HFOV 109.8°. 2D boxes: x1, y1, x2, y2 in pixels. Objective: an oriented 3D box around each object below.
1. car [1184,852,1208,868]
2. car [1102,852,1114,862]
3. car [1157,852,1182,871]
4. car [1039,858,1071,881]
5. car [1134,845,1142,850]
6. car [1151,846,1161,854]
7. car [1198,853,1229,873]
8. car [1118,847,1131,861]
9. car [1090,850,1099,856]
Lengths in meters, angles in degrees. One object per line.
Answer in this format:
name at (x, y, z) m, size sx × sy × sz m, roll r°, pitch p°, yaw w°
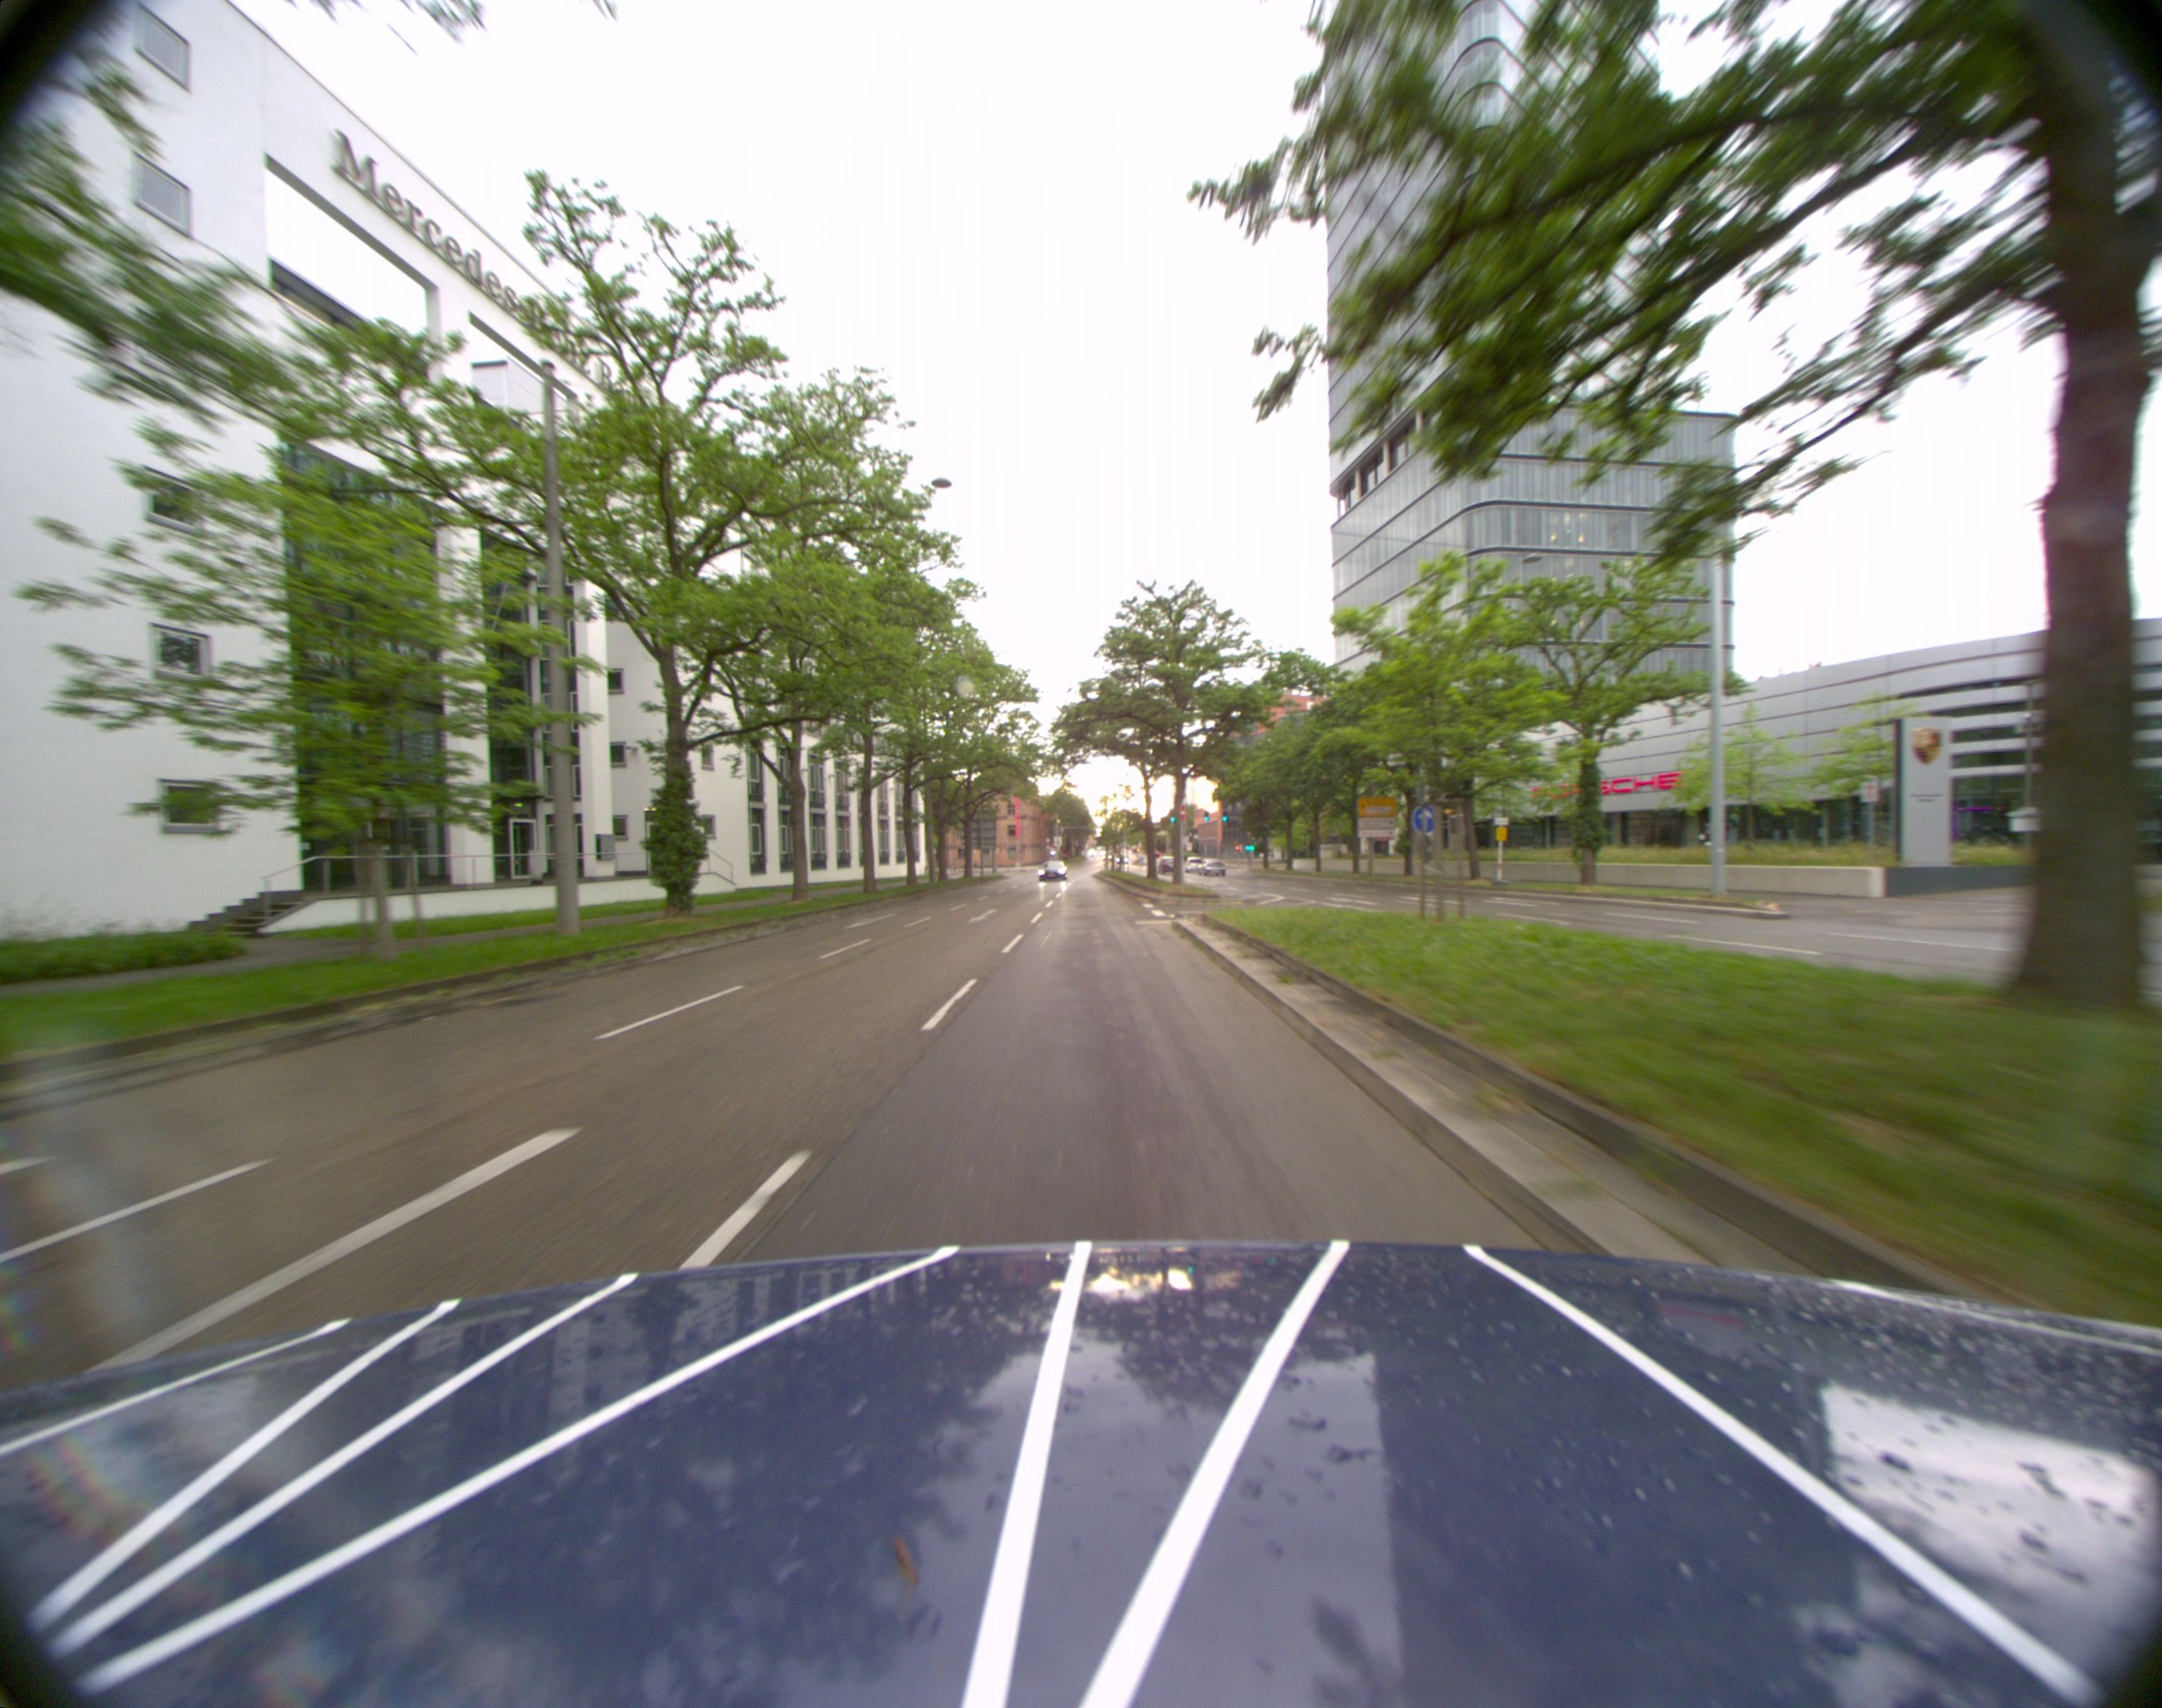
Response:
car at (11.682, 0.602, 77.524) m, size 1.783 × 1.445 × 3.999 m, roll -4°, pitch 1°, yaw -1°
car at (4.878, 0.490, 137.518) m, size 1.999 × 1.674 × 4.000 m, roll -1°, pitch 0°, yaw -1°
car at (8.245, 0.682, 70.985) m, size 1.846 × 1.581 × 4.173 m, roll -1°, pitch 1°, yaw -1°
car at (-1.804, 1.089, 53.916) m, size 1.878 × 1.346 × 4.332 m, roll -4°, pitch 1°, yaw 2°
car at (16.052, -1.837, 214.959) m, size 1.783 × 1.445 × 3.999 m, roll -4°, pitch 1°, yaw 0°
car at (16.176, -0.833, 163.843) m, size 1.783 × 1.445 × 3.999 m, roll -4°, pitch 1°, yaw -1°
car at (11.377, 0.754, 65.523) m, size 1.894 × 1.445 × 3.999 m, roll -4°, pitch 1°, yaw -1°
car at (6.752, 0.012, 118.505) m, size 1.998 × 2.002 × 4.001 m, roll -2°, pitch 0°, yaw 3°
car at (3.418, -0.295, 190.636) m, size 1.998 × 1.576 × 4.000 m, roll -1°, pitch 0°, yaw 3°
